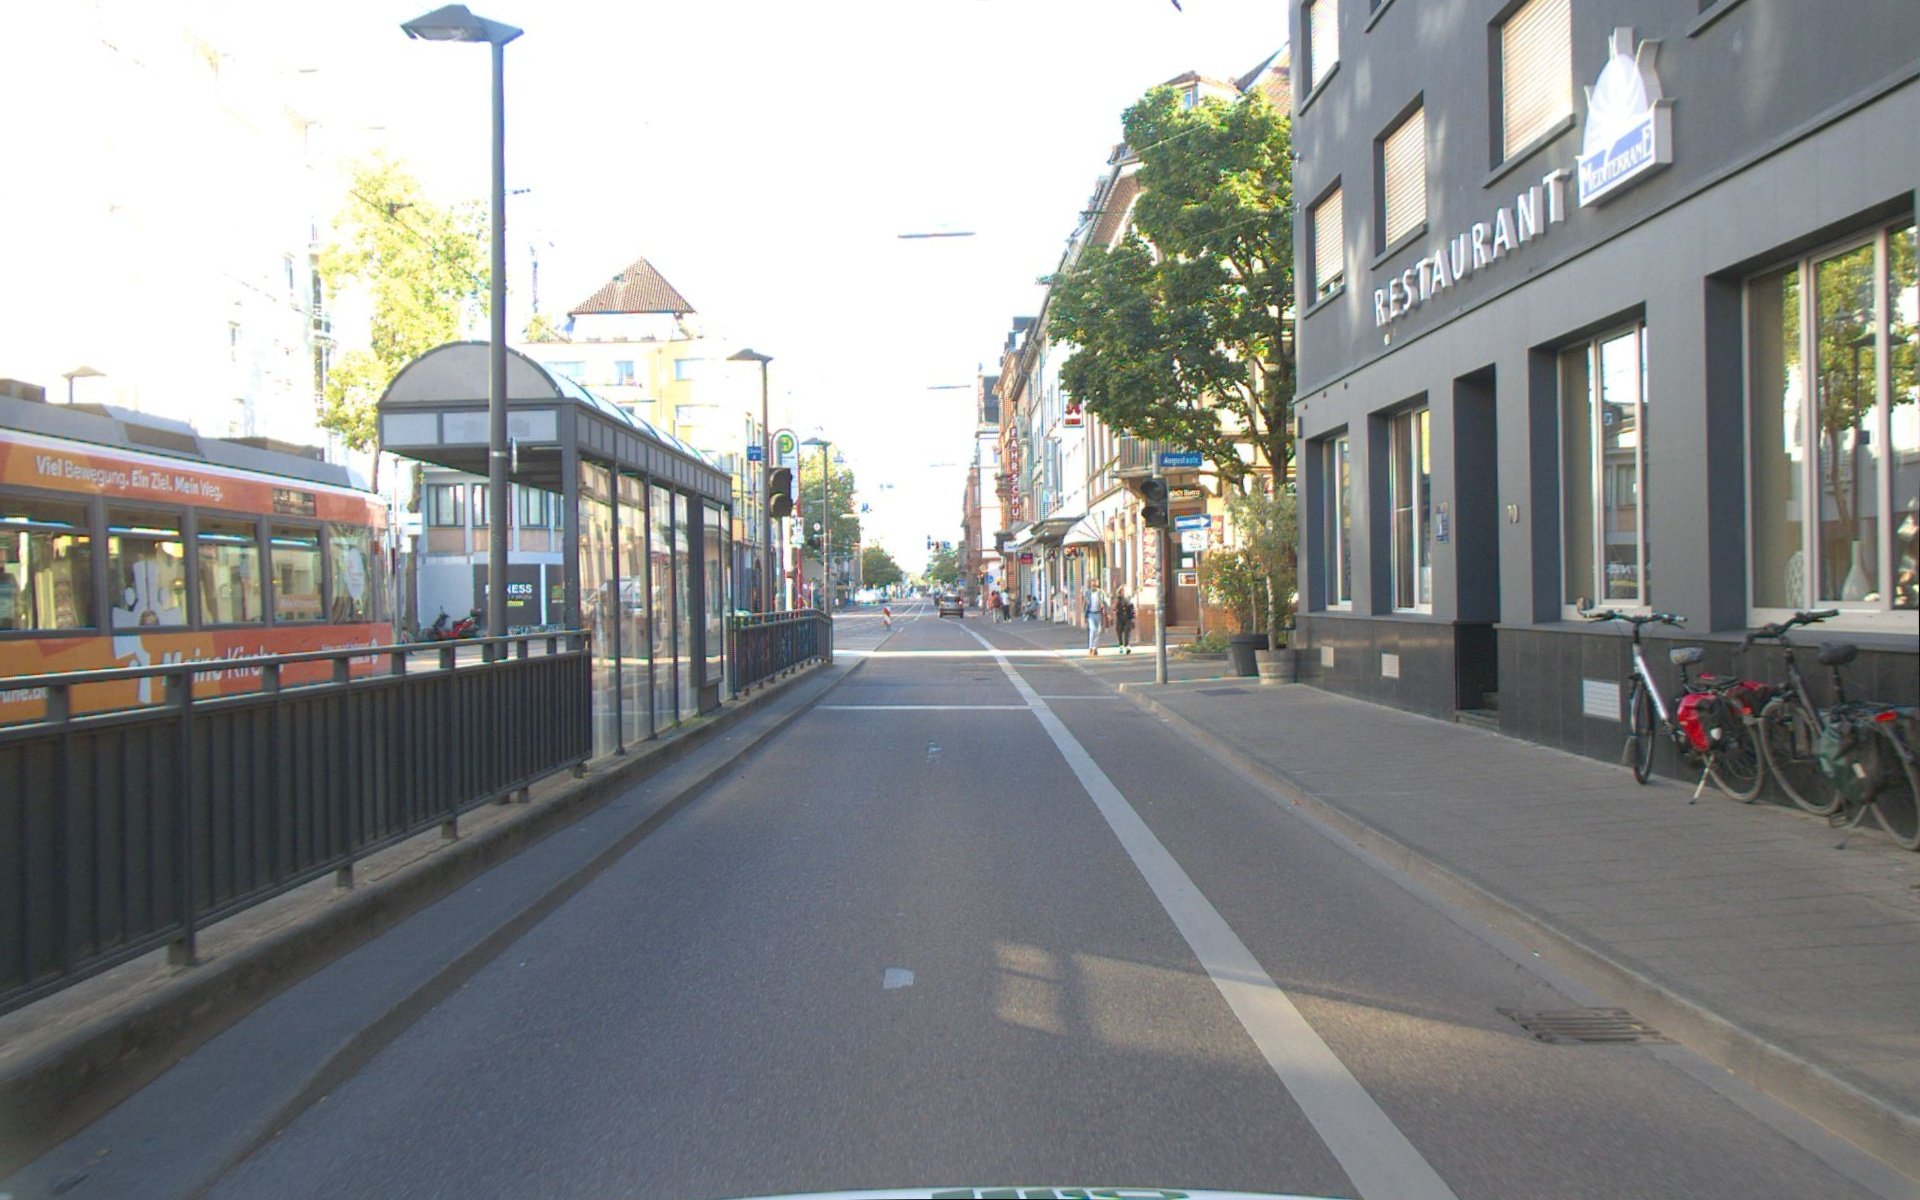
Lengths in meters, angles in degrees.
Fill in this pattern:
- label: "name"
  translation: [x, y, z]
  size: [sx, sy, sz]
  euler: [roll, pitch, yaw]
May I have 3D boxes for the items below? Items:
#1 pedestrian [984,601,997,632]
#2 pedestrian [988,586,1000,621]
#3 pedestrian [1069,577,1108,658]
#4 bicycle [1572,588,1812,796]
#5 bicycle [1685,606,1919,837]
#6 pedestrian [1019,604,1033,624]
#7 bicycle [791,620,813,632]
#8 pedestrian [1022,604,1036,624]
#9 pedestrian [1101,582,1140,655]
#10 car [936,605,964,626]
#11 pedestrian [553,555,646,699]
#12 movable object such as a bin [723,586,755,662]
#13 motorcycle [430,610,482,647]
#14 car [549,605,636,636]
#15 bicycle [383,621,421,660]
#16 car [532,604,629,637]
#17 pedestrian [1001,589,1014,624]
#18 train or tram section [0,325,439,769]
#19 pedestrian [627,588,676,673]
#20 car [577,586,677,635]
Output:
- label: "pedestrian"
  translation: [1.945, 1.061, 106.070]
  size: [0.826, 1.951, 0.661]
  euler: [0, -1, -3]
- label: "pedestrian"
  translation: [1.791, 0.184, 86.586]
  size: [0.548, 1.828, 0.651]
  euler: [0, -1, 6]
- label: "pedestrian"
  translation: [2.959, 0.391, 38.144]
  size: [0.699, 1.805, 0.772]
  euler: [-3, 0, -4]
- label: "bicycle"
  translation: [4.753, 0.551, 10.893]
  size: [0.611, 1.219, 1.907]
  euler: [-3, 0, -2]
- label: "bicycle"
  translation: [4.642, 0.599, 9.002]
  size: [0.579, 1.089, 1.804]
  euler: [-3, 0, 1]
- label: "pedestrian"
  translation: [3.451, 0.745, 86.396]
  size: [0.676, 1.062, 0.681]
  euler: [0, -1, 3]
- label: "bicycle"
  translation: [-14.317, 2.342, 149.934]
  size: [1.893, 1.021, 0.754]
  euler: [-1, 0, 17]
- label: "pedestrian"
  translation: [3.564, 0.730, 85.433]
  size: [0.676, 1.062, 0.681]
  euler: [0, -1, 3]
- label: "pedestrian"
  translation: [3.690, 0.409, 38.065]
  size: [0.699, 1.630, 0.772]
  euler: [-3, 0, -4]
- label: "car"
  translation: [-0.763, 1.109, 121.069]
  size: [1.953, 1.475, 3.999]
  euler: [0, 0, -1]
- label: "pedestrian"
  translation: [-3.049, 0.225, 14.029]
  size: [0.671, 1.196, 0.537]
  euler: [0, -1, 0]
- label: "movable object such as a bin"
  translation: [-2.842, 0.301, 21.285]
  size: [0.345, 0.961, 0.530]
  euler: [0, -1, -2]
- label: "motorcycle"
  translation: [-19.291, 1.104, 63.313]
  size: [1.760, 1.320, 0.605]
  euler: [3, -1, -7]
- label: "car"
  translation: [-18.357, 1.015, 82.709]
  size: [3.905, 1.537, 1.800]
  euler: [1, 0, 0]
- label: "bicycle"
  translation: [-17.109, 1.245, 50.751]
  size: [0.488, 1.127, 1.800]
  euler: [3, 0, 0]
- label: "car"
  translation: [-18.332, 1.005, 79.963]
  size: [4.231, 1.537, 1.800]
  euler: [1, 0, 0]
- label: "pedestrian"
  translation: [2.471, 0.325, 86.387]
  size: [0.635, 1.828, 0.562]
  euler: [0, -1, 3]
- label: "train or tram section"
  translation: [-9.077, -0.398, 16.724]
  size: [2.826, 3.551, 14.949]
  euler: [-1, 0, 0]
- label: "pedestrian"
  translation: [-6.501, 0.631, 34.884]
  size: [0.852, 1.744, 0.787]
  euler: [2, 1, -4]
- label: "car"
  translation: [-18.167, 0.566, 90.409]
  size: [5.001, 2.621, 2.128]
  euler: [1, -1, 0]
